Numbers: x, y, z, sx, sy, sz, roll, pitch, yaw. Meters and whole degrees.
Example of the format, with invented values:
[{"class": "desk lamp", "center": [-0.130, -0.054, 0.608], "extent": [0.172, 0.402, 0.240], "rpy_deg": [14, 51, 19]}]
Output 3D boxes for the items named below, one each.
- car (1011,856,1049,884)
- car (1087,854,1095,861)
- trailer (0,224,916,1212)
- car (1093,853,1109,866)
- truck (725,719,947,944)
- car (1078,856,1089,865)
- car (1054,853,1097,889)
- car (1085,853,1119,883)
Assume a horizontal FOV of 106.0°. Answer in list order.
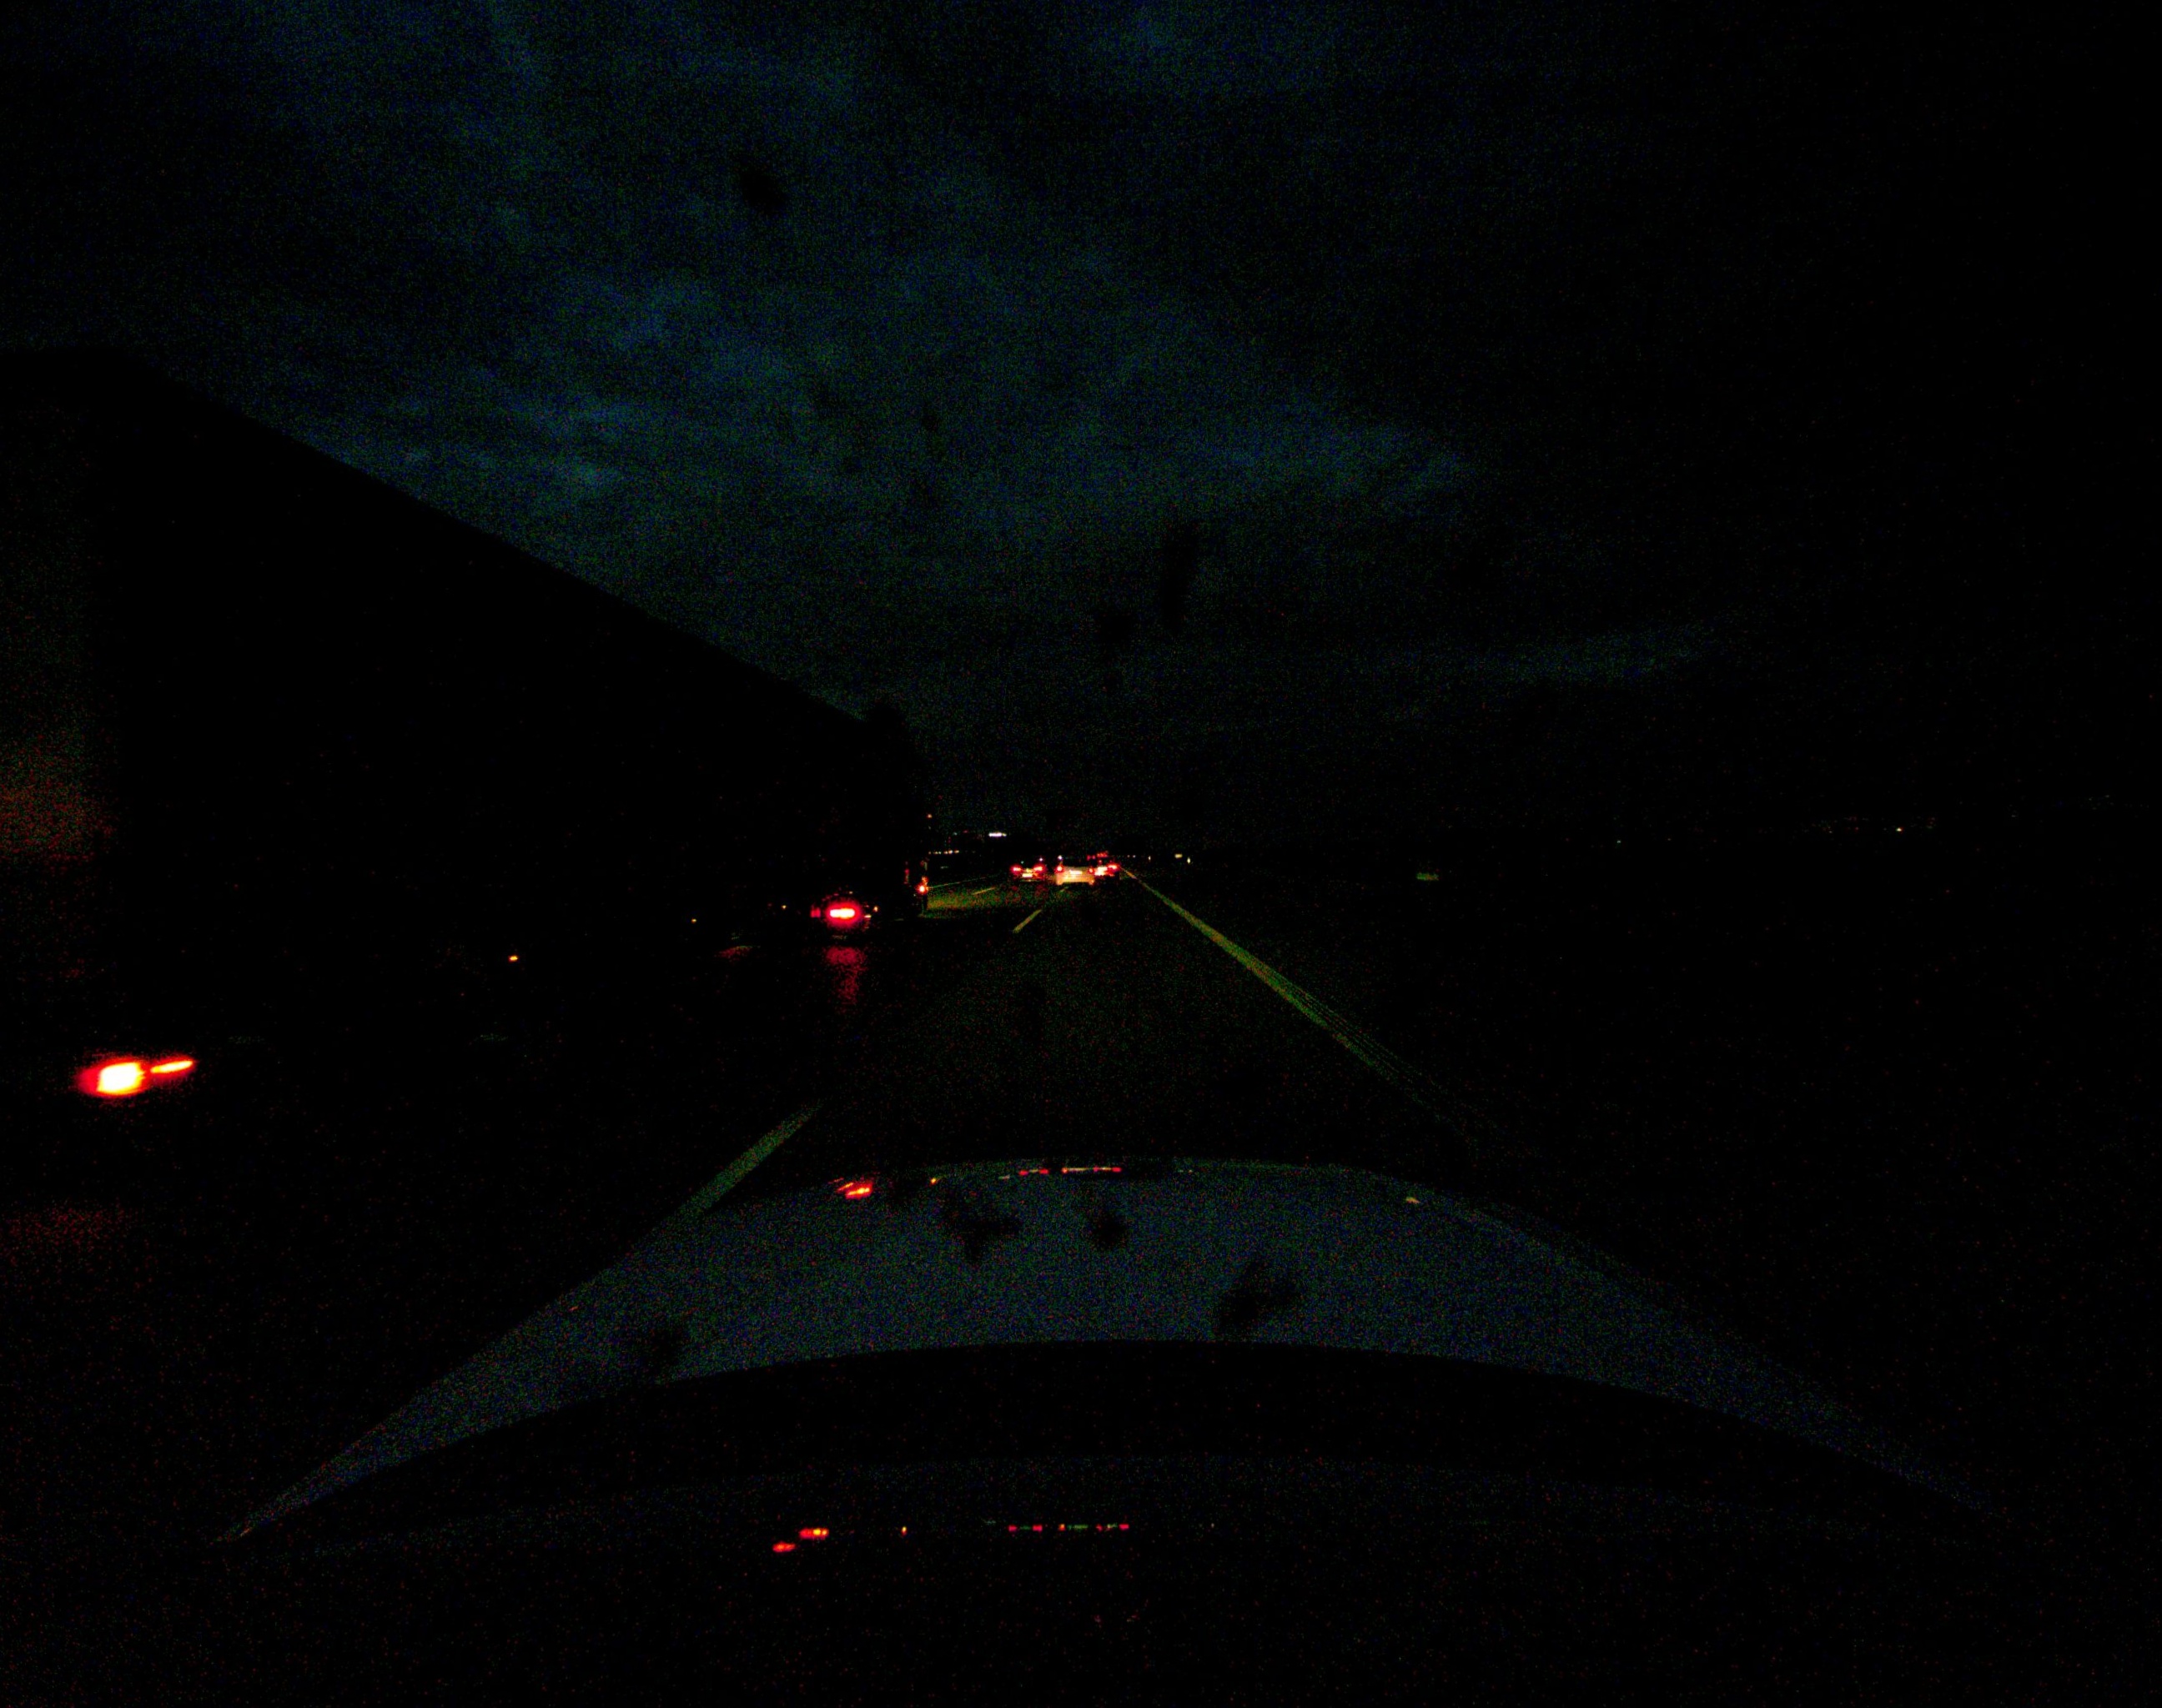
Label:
[{"class": "car", "center": [-2.836, 0.883, 46.119], "extent": [1.716, 1.471, 4.727], "rpy_deg": [-1, -1, 1]}, {"class": "car", "center": [2.748, 0.965, 230.129], "extent": [2.191, 1.879, 4.001], "rpy_deg": [-1, -1, 1]}, {"class": "trailer", "center": [-5.393, -0.464, 10.650], "extent": [2.783, 4.085, 14.533], "rpy_deg": [-2, -1, 2]}, {"class": "car", "center": [2.529, 0.689, 103.008], "extent": [1.874, 1.552, 4.000], "rpy_deg": [-1, -1, 1]}, {"class": "truck", "center": [-5.072, -0.391, 18.196], "extent": [2.767, 4.093, 6.106], "rpy_deg": [-2, -1, 2]}, {"class": "car", "center": [0.440, 1.190, 149.685], "extent": [1.874, 1.552, 4.000], "rpy_deg": [-1, -1, 1]}, {"class": "car", "center": [-0.195, 0.772, 37.327], "extent": [1.737, 1.525, 4.416], "rpy_deg": [-1, -1, 2]}, {"class": "car", "center": [1.195, 0.784, 46.274], "extent": [1.873, 1.643, 4.001], "rpy_deg": [-1, -1, 1]}]
